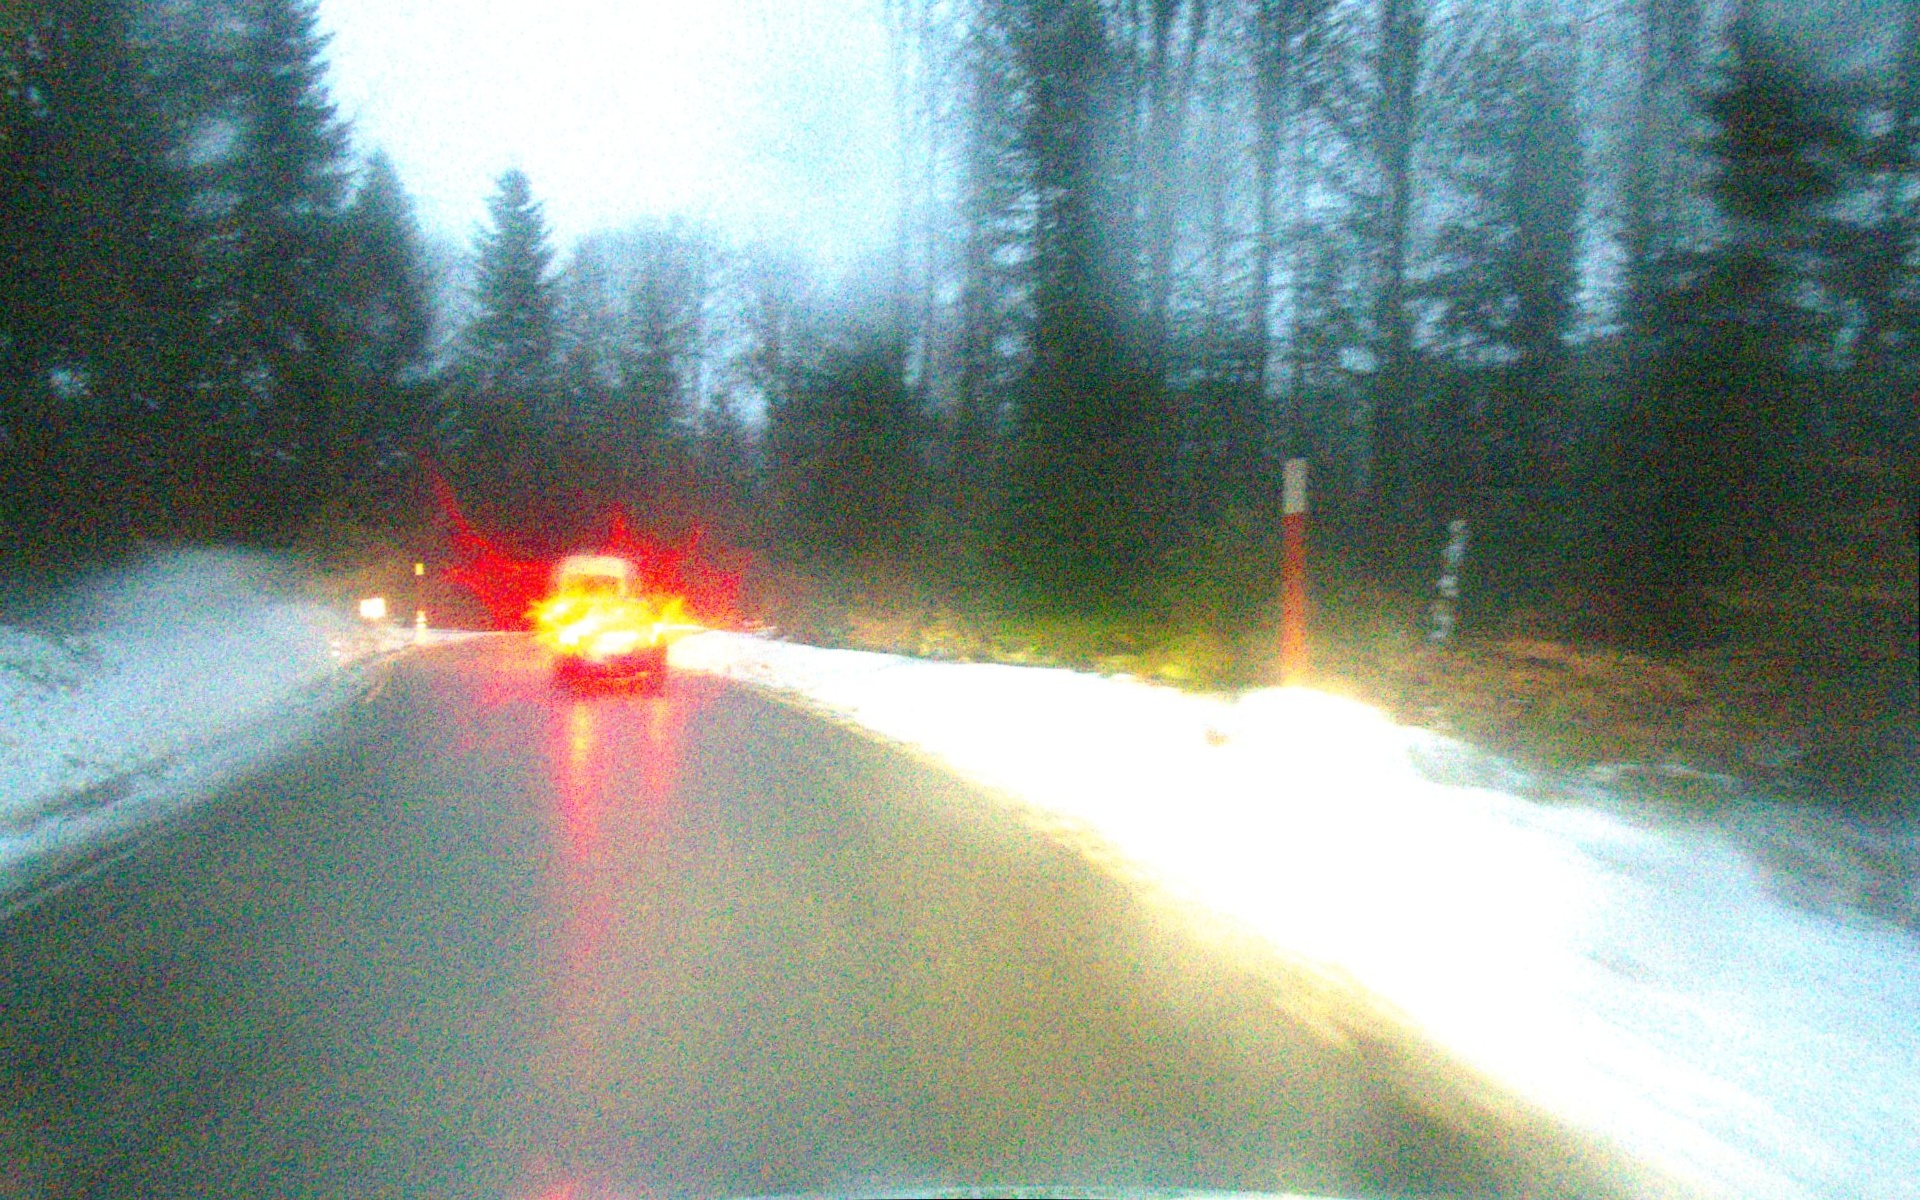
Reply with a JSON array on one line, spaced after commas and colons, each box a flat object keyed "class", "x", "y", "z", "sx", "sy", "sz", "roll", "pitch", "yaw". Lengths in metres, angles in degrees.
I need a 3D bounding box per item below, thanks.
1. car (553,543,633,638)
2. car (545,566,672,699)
[{"class": "car", "x": -10.943, "y": -0.261, "z": 49.653, "sx": 2.212, "sy": 2.692, "sz": 4.992, "roll": 0, "pitch": 0, "yaw": -11}, {"class": "car", "x": -5.983, "y": 0.537, "z": 28.527, "sx": 1.957, "sy": 2.088, "sz": 3.990, "roll": -1, "pitch": -1, "yaw": -10}]
